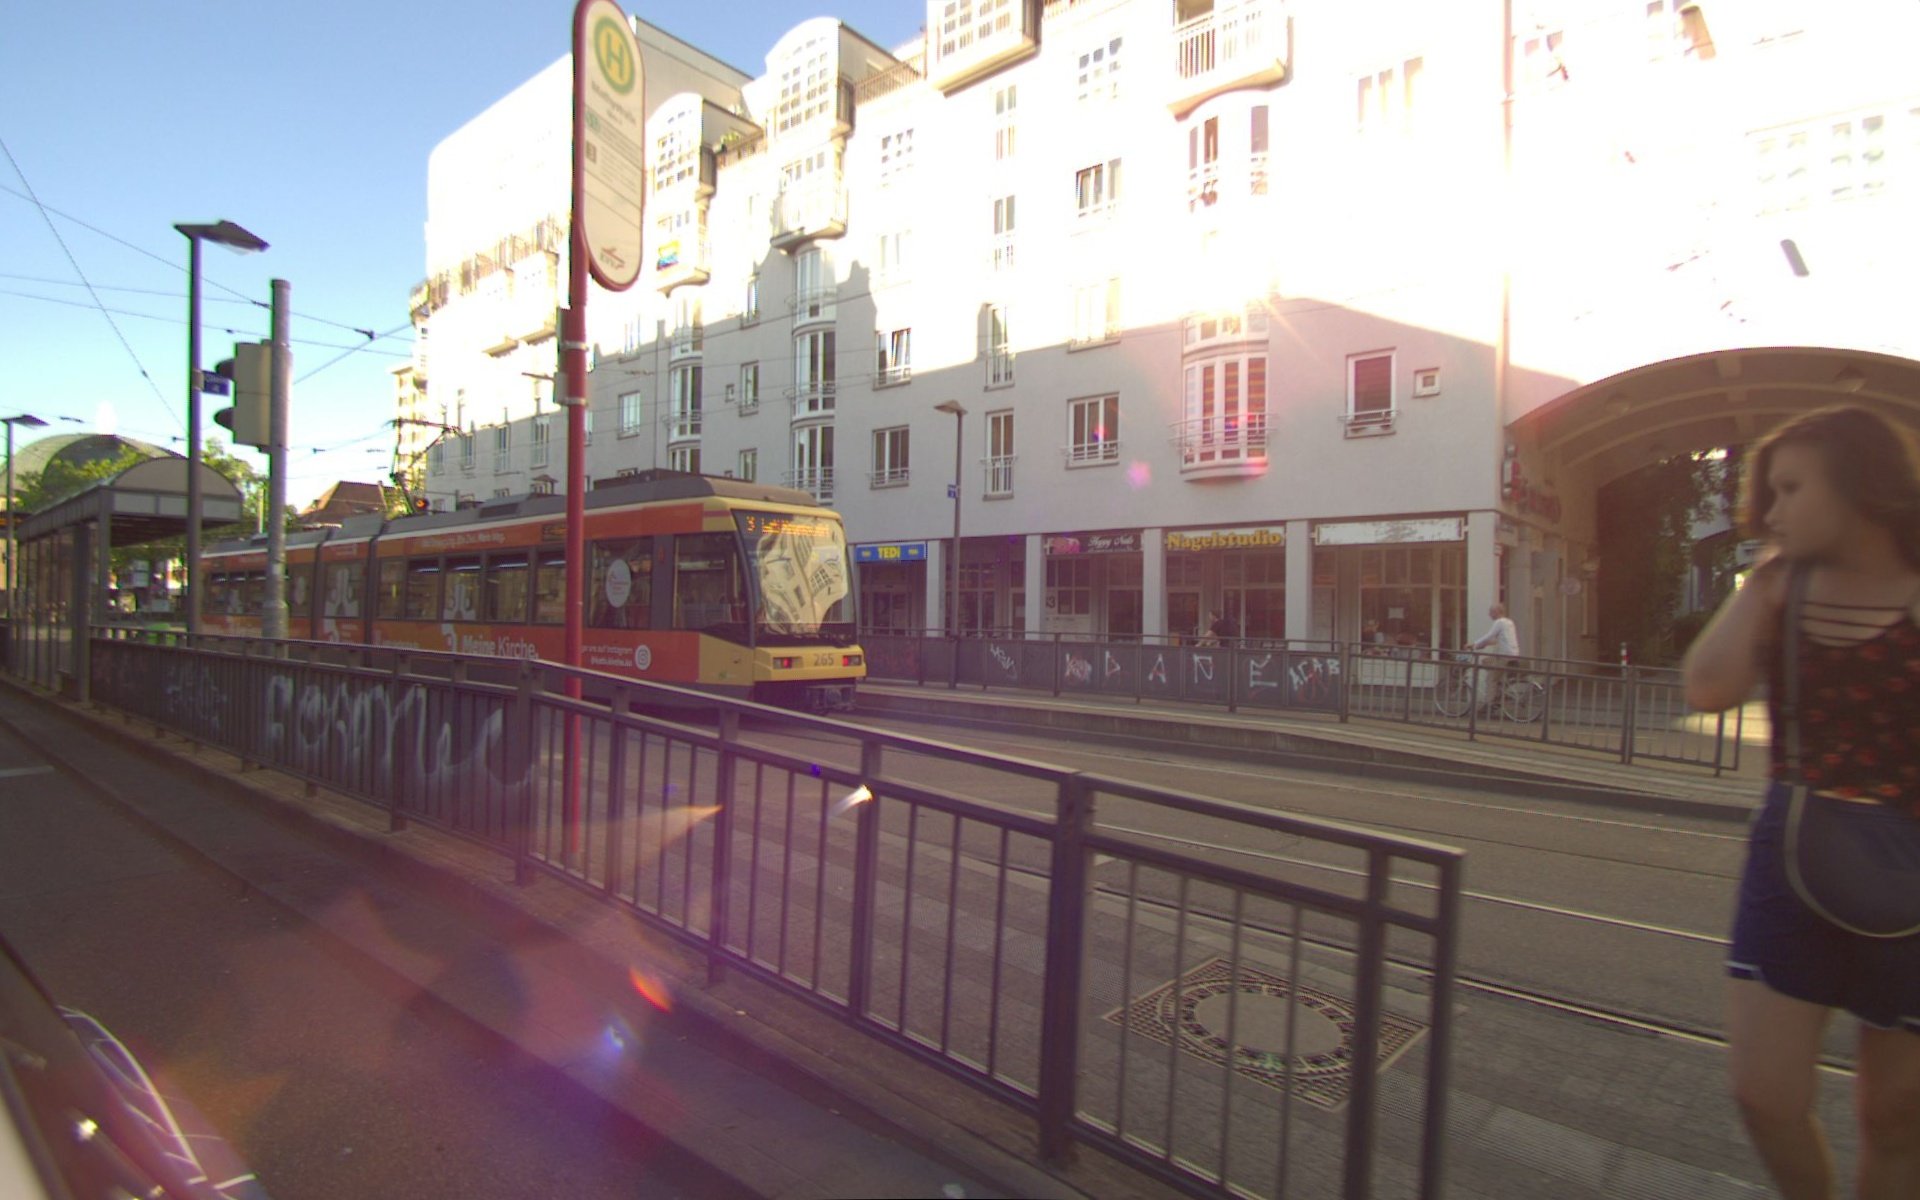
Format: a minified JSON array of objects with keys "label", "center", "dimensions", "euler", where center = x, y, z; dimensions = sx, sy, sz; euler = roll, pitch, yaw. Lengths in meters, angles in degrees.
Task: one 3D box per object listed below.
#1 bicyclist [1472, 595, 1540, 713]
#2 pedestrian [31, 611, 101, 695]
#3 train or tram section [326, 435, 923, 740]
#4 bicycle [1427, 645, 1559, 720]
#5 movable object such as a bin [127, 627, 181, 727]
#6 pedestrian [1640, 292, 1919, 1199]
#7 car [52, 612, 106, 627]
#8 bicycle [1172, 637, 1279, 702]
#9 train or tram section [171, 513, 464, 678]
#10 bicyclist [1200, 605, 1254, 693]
[{"label":"bicyclist","center":[8.838,0.863,16.387],"dimensions":[0.844,1.849,0.648],"euler":[-1,-2,41]},{"label":"pedestrian","center":[-13.099,0.760,14.831],"dimensions":[0.536,1.185,0.677],"euler":[-1,-2,41]},{"label":"train or tram section","center":[-7.020,-0.150,17.720],"dimensions":[14.945,3.516,2.854],"euler":[0,0,42]},{"label":"bicycle","center":[8.674,1.317,16.513],"dimensions":[1.799,1.116,0.648],"euler":[-1,-2,41]},{"label":"movable object such as a bin","center":[-7.966,0.741,9.998],"dimensions":[0.348,0.951,0.530],"euler":[2,-2,-44]},{"label":"pedestrian","center":[1.617,0.449,1.611],"dimensions":[0.786,1.727,0.861],"euler":[-2,0,38]},{"label":"car","center":[-90.614,1.976,104.176],"dimensions":[1.777,1.486,3.989],"euler":[0,0,9]},{"label":"bicycle","center":[4.889,1.254,18.687],"dimensions":[1.799,1.116,0.721],"euler":[-1,-2,41]},{"label":"train or tram section","center":[-17.896,-0.102,27.382],"dimensions":[14.162,3.516,2.855],"euler":[0,0,41]},{"label":"bicyclist","center":[4.923,0.886,18.680],"dimensions":[0.719,1.580,0.721],"euler":[-1,-2,41]}]
